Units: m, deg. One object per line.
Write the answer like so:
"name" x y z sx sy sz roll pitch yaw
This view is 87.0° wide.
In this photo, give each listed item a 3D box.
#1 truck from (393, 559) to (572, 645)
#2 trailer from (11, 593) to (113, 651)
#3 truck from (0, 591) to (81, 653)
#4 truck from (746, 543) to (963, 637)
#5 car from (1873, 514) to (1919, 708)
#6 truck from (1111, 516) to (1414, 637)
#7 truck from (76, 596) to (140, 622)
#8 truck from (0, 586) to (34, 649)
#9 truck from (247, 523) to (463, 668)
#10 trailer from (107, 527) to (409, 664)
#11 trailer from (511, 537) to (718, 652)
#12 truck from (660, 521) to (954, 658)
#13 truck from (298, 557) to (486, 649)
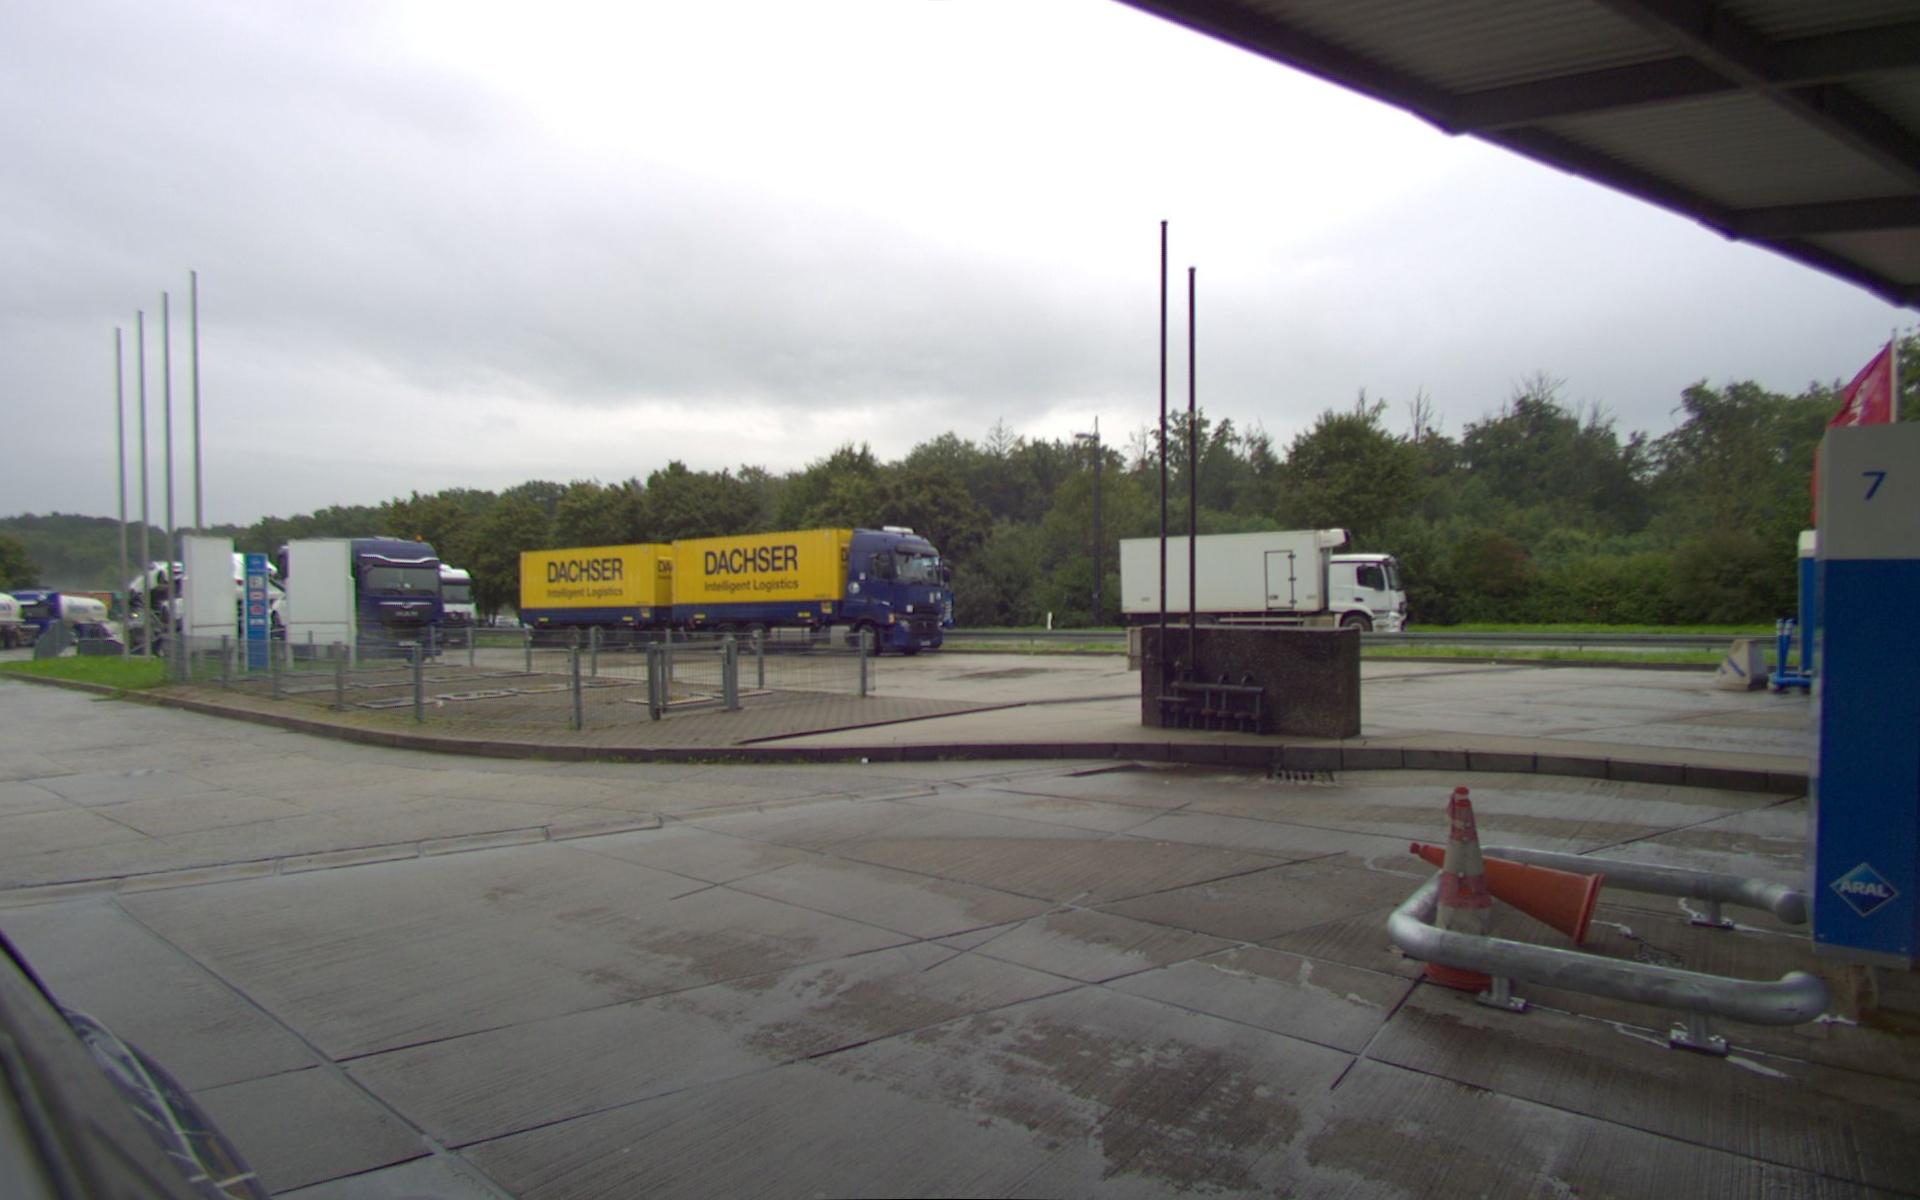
"truck" -24.769 0.144 52.262 10.433 4.063 2.961 -1 0 30
"trailer" -62.258 1.437 70.470 2.854 3.666 10.605 -1 0 -28
"truck" -59.412 1.374 64.984 3.000 3.795 6.486 -1 0 -27
"truck" -5.129 -0.402 47.676 10.433 4.063 2.961 -1 0 30
"car" 14.883 0.113 12.365 5.272 2.482 2.298 -1 -2 37
"truck" 11.063 -0.734 37.697 10.433 4.063 2.961 -1 0 30
"truck" -124.827 1.306 148.133 14.626 3.591 3.214 0 -2 34
"truck" -55.546 1.021 55.004 3.196 3.591 12.013 -1 0 -19
"truck" -18.982 -0.112 31.608 7.244 4.063 2.957 -1 0 34
"trailer" -25.406 -0.055 35.912 16.563 4.063 2.957 -1 0 34
"trailer" -13.535 -0.164 39.275 8.833 4.063 2.743 -1 0 33
"truck" -5.380 -0.269 33.942 10.608 4.063 2.743 -1 0 33
"truck" -27.290 0.178 48.433 10.433 4.063 2.961 -1 0 30
